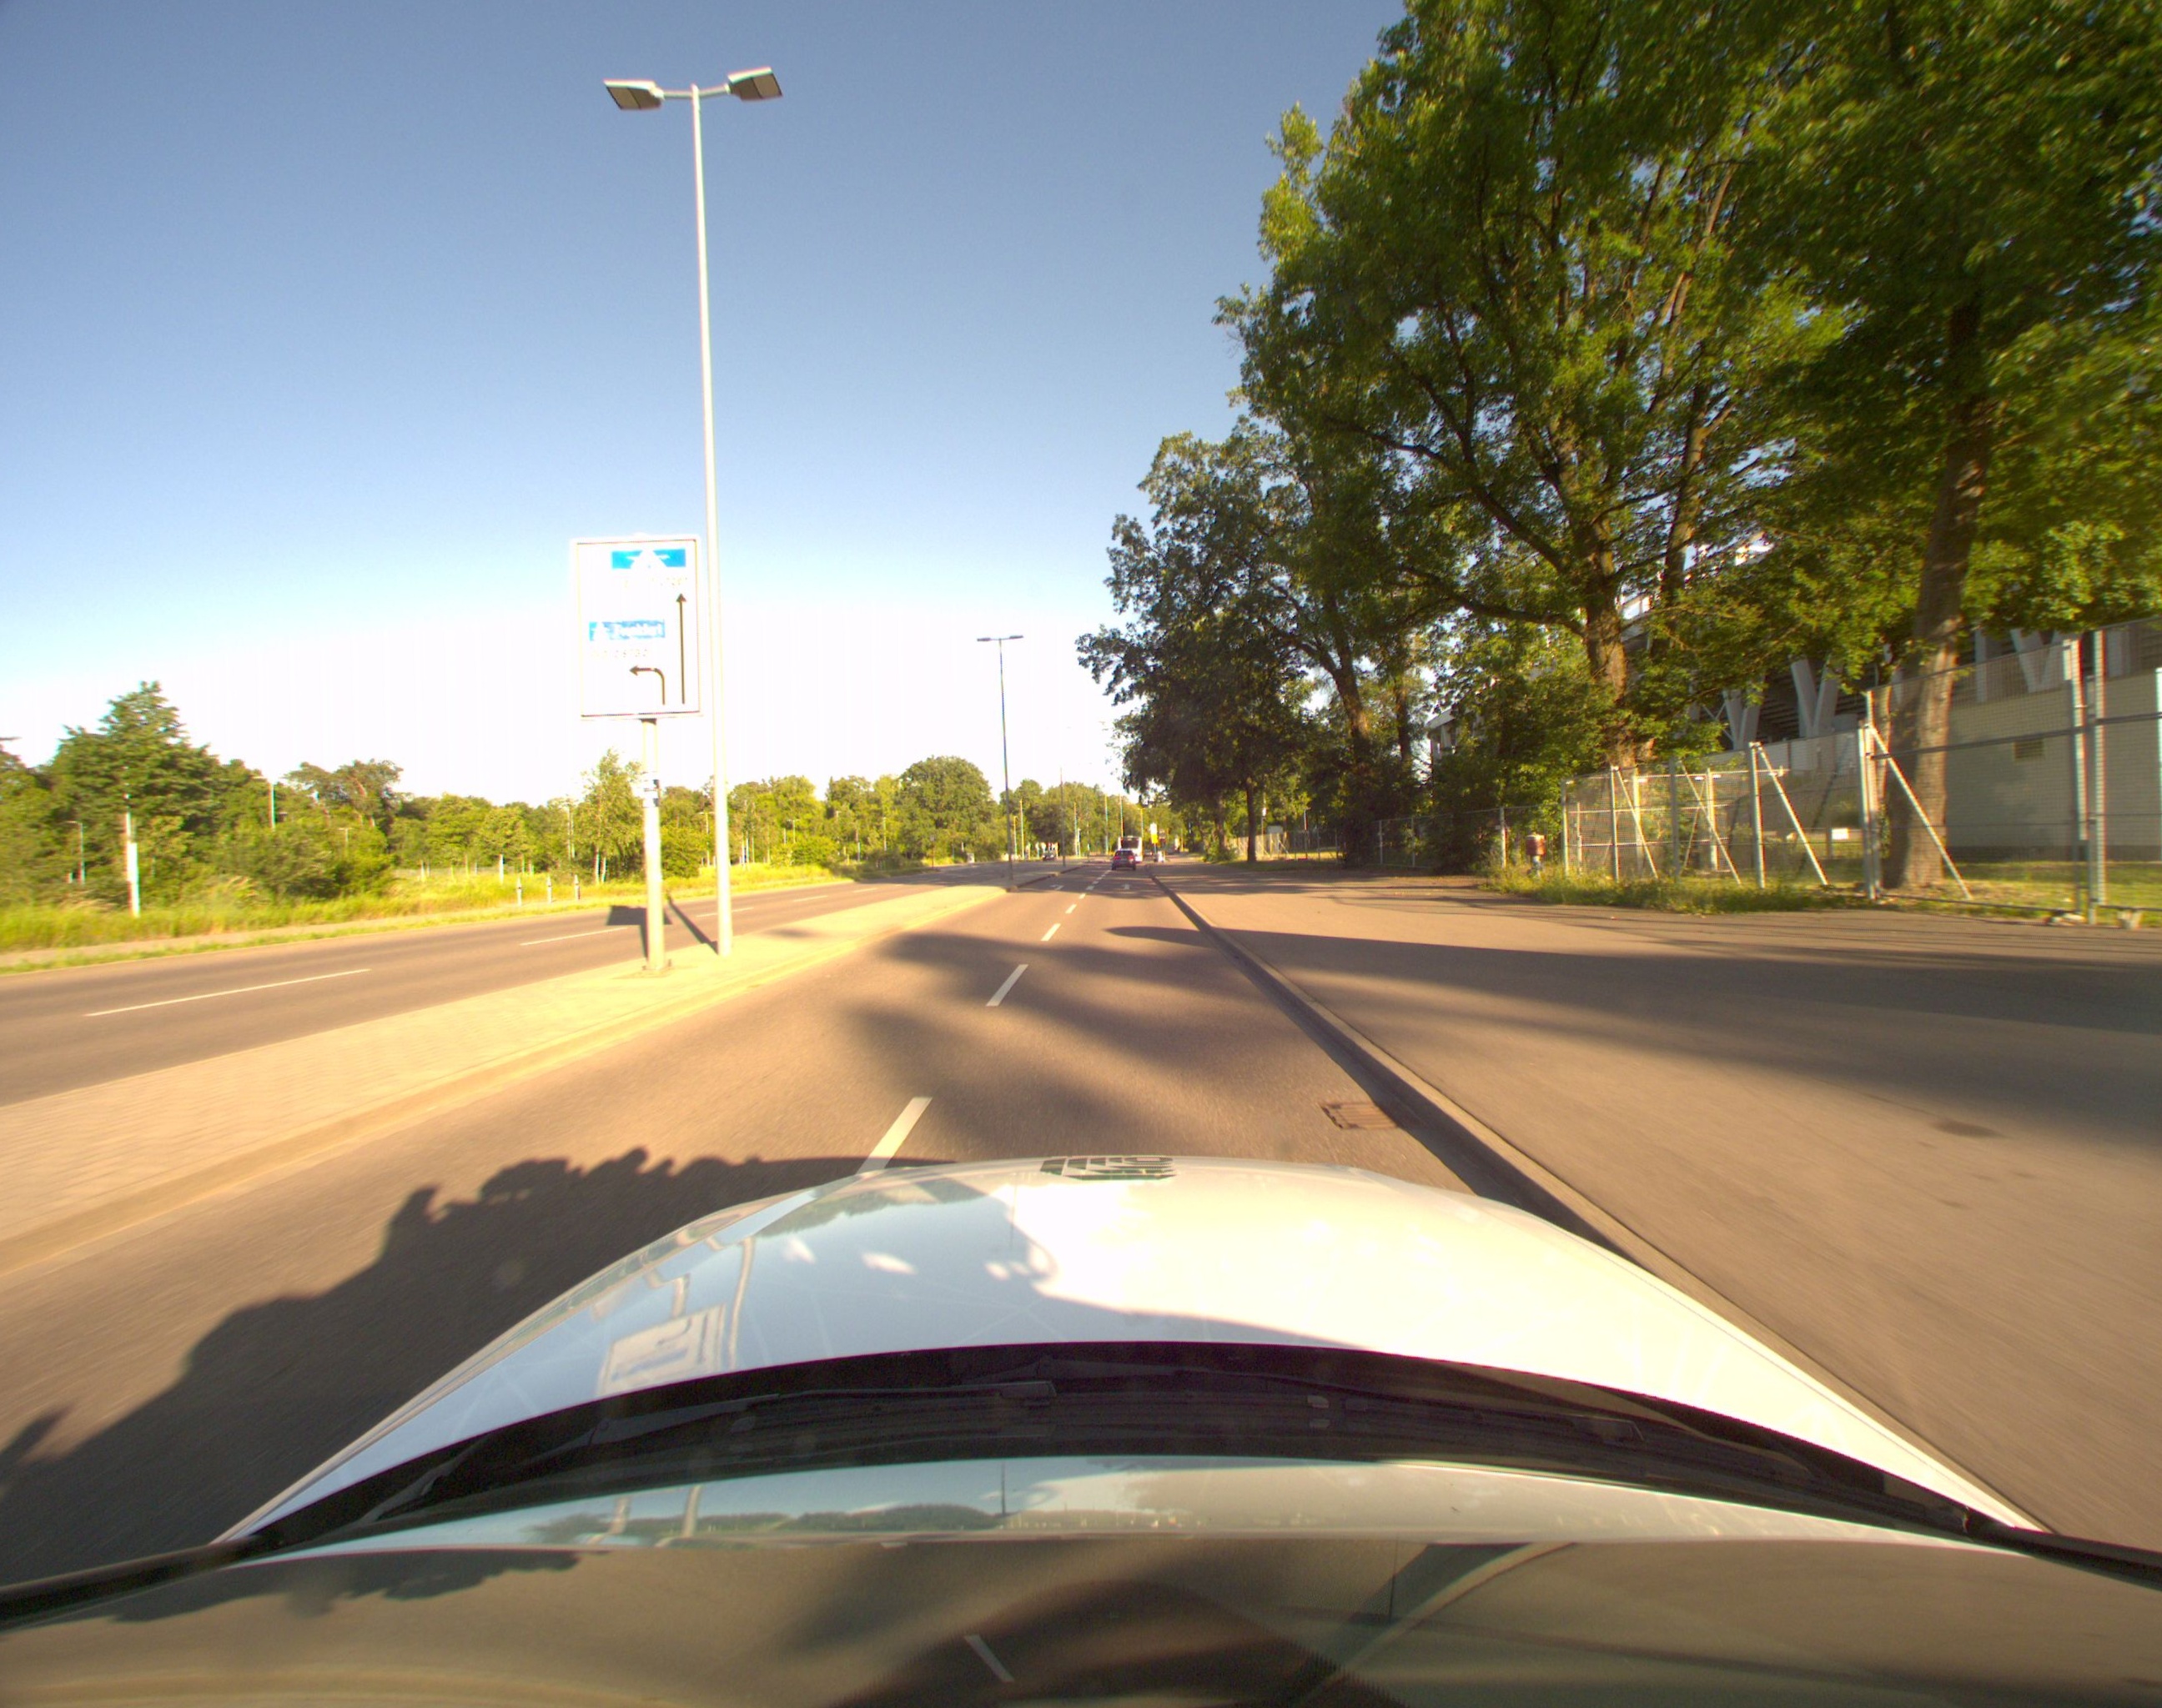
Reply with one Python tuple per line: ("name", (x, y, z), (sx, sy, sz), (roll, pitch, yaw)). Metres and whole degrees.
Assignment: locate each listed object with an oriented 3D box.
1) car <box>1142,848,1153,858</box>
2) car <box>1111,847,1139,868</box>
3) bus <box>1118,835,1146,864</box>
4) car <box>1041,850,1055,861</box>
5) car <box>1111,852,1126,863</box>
("car", (11.884, -0.100, 145.797), (1.901, 1.728, 4.586), (0, -1, 6))
("car", (3.498, 0.248, 64.040), (1.888, 1.632, 4.008), (0, 0, 7))
("bus", (5.823, -0.442, 91.257), (2.581, 2.989, 9.345), (0, -1, 7))
("car", (-5.276, 0.198, 129.269), (1.775, 1.692, 4.707), (0, 0, 3))
("car", (5.425, 0.526, 118.712), (1.826, 1.518, 4.008), (-1, 0, 7))
